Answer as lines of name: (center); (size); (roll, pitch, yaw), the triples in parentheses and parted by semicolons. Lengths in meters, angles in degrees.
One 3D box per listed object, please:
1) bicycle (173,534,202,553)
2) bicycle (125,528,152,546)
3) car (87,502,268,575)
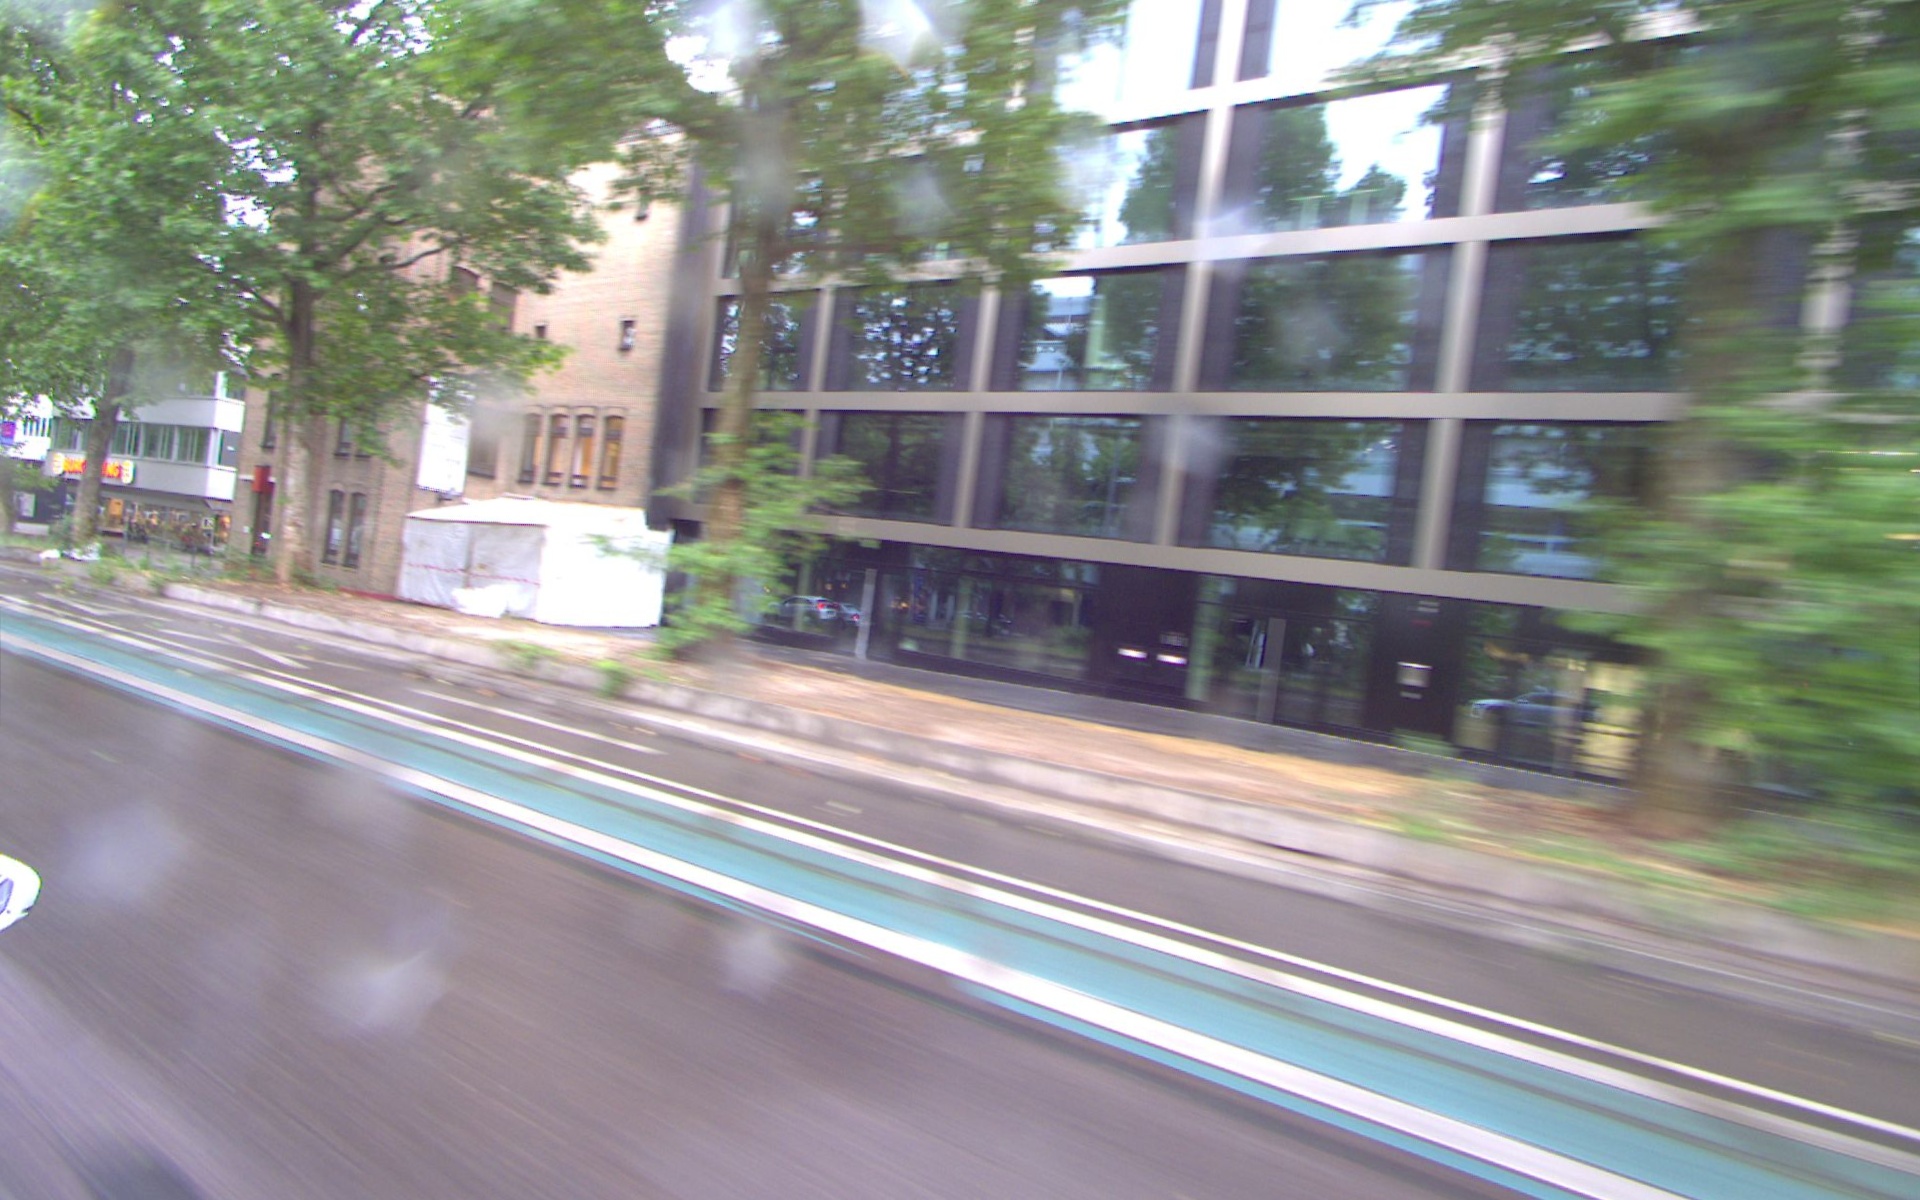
bicycle: (-40.109, -2.934, 52.243); (1.993, 0.846, 0.449); (6, -3, 32)
bicycle: (-44.902, -3.444, 54.998); (1.993, 0.846, 0.449); (6, -3, 32)
car: (-17.423, -1.339, 22.547); (2.861, 1.086, 1.446); (9, -3, -28)
